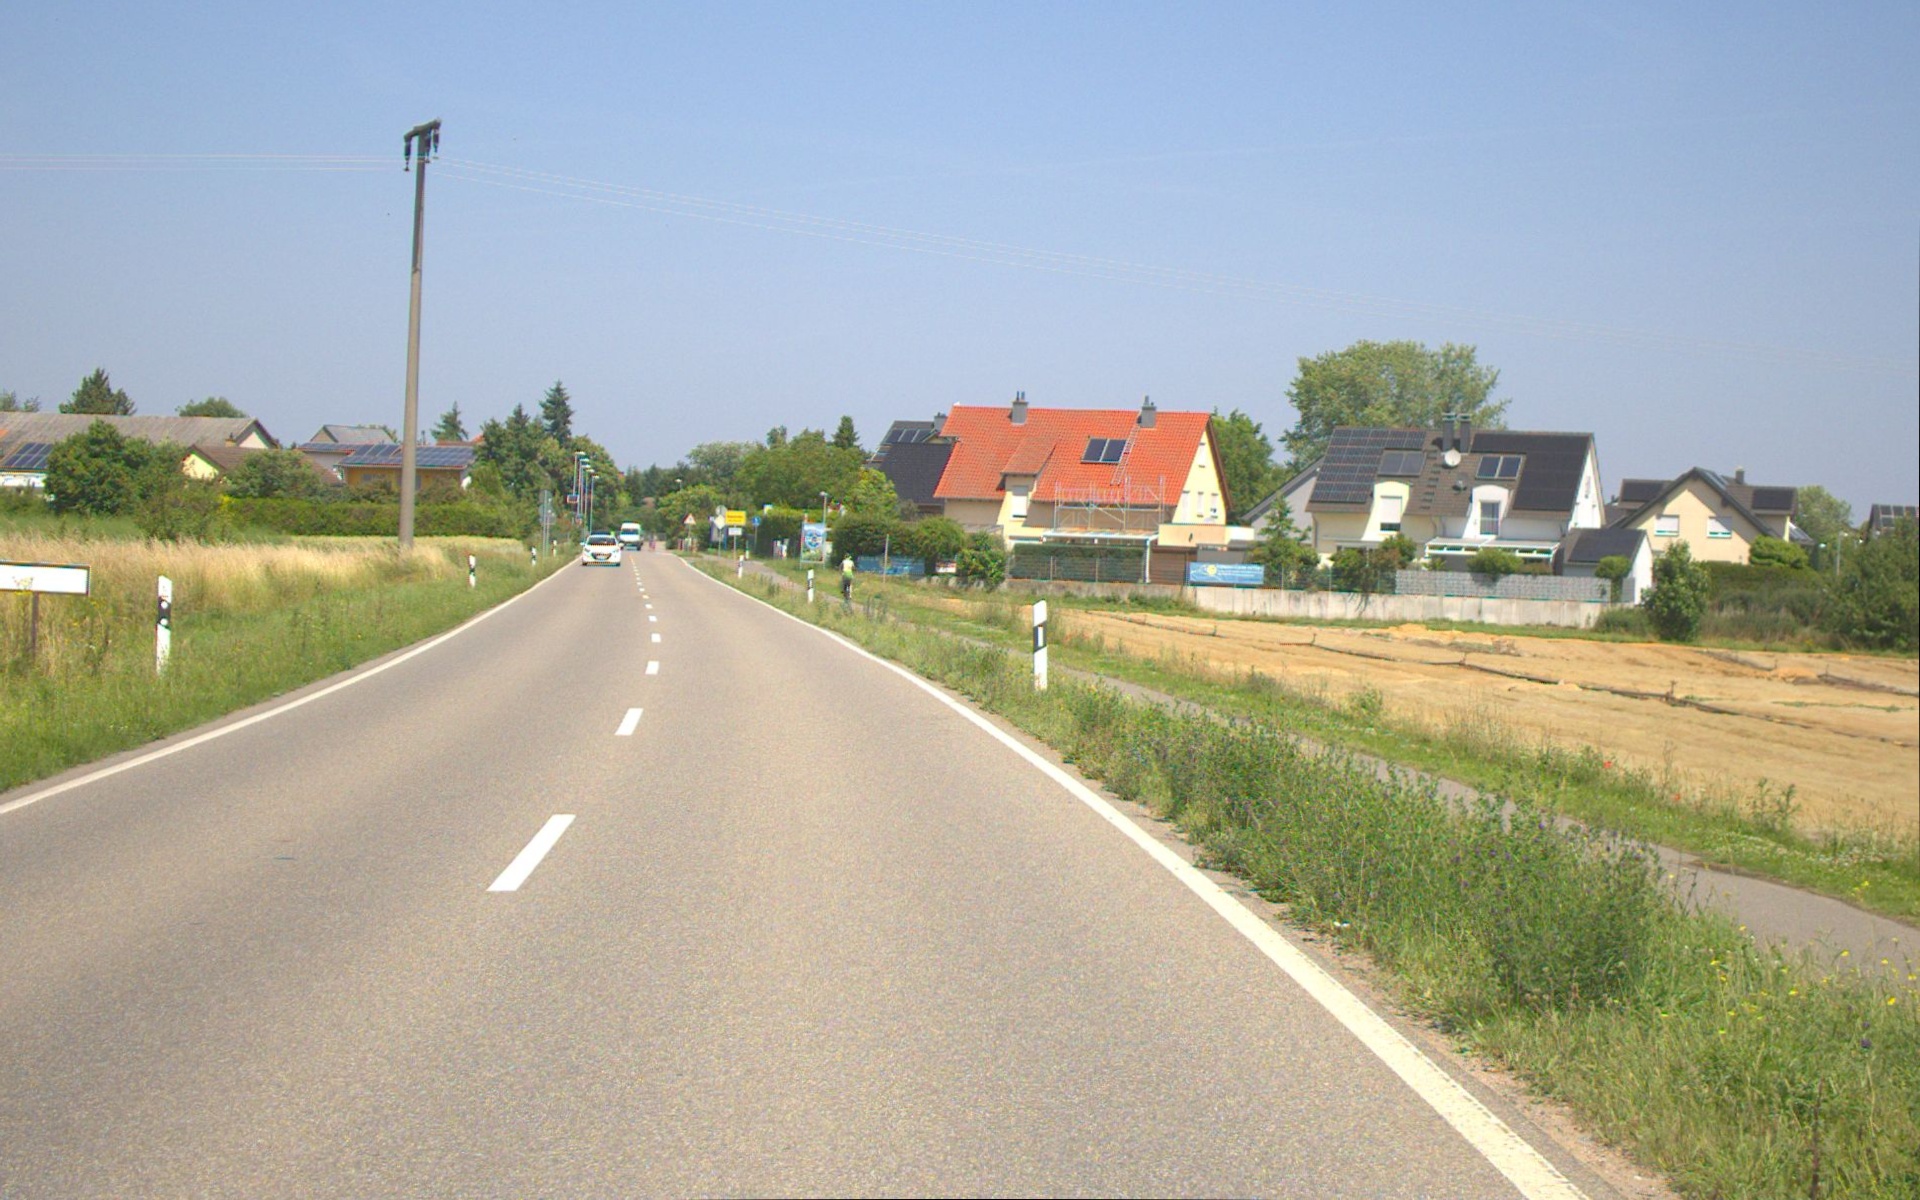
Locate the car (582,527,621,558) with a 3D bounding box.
[{"bbox_3d":[-16.915,-2.702,162.283,1.791,1.404,4.186,1,1,-6],"label":"car"}]

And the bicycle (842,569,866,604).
[{"bbox_3d":[-3.774,-0.489,122.472,0.610,1.154,2.275,4,2,-6],"label":"bicycle"}]

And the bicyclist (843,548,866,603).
[{"bbox_3d":[-3.756,-0.867,122.507,0.645,1.883,0.861,4,2,-6],"label":"bicyclist"}]
